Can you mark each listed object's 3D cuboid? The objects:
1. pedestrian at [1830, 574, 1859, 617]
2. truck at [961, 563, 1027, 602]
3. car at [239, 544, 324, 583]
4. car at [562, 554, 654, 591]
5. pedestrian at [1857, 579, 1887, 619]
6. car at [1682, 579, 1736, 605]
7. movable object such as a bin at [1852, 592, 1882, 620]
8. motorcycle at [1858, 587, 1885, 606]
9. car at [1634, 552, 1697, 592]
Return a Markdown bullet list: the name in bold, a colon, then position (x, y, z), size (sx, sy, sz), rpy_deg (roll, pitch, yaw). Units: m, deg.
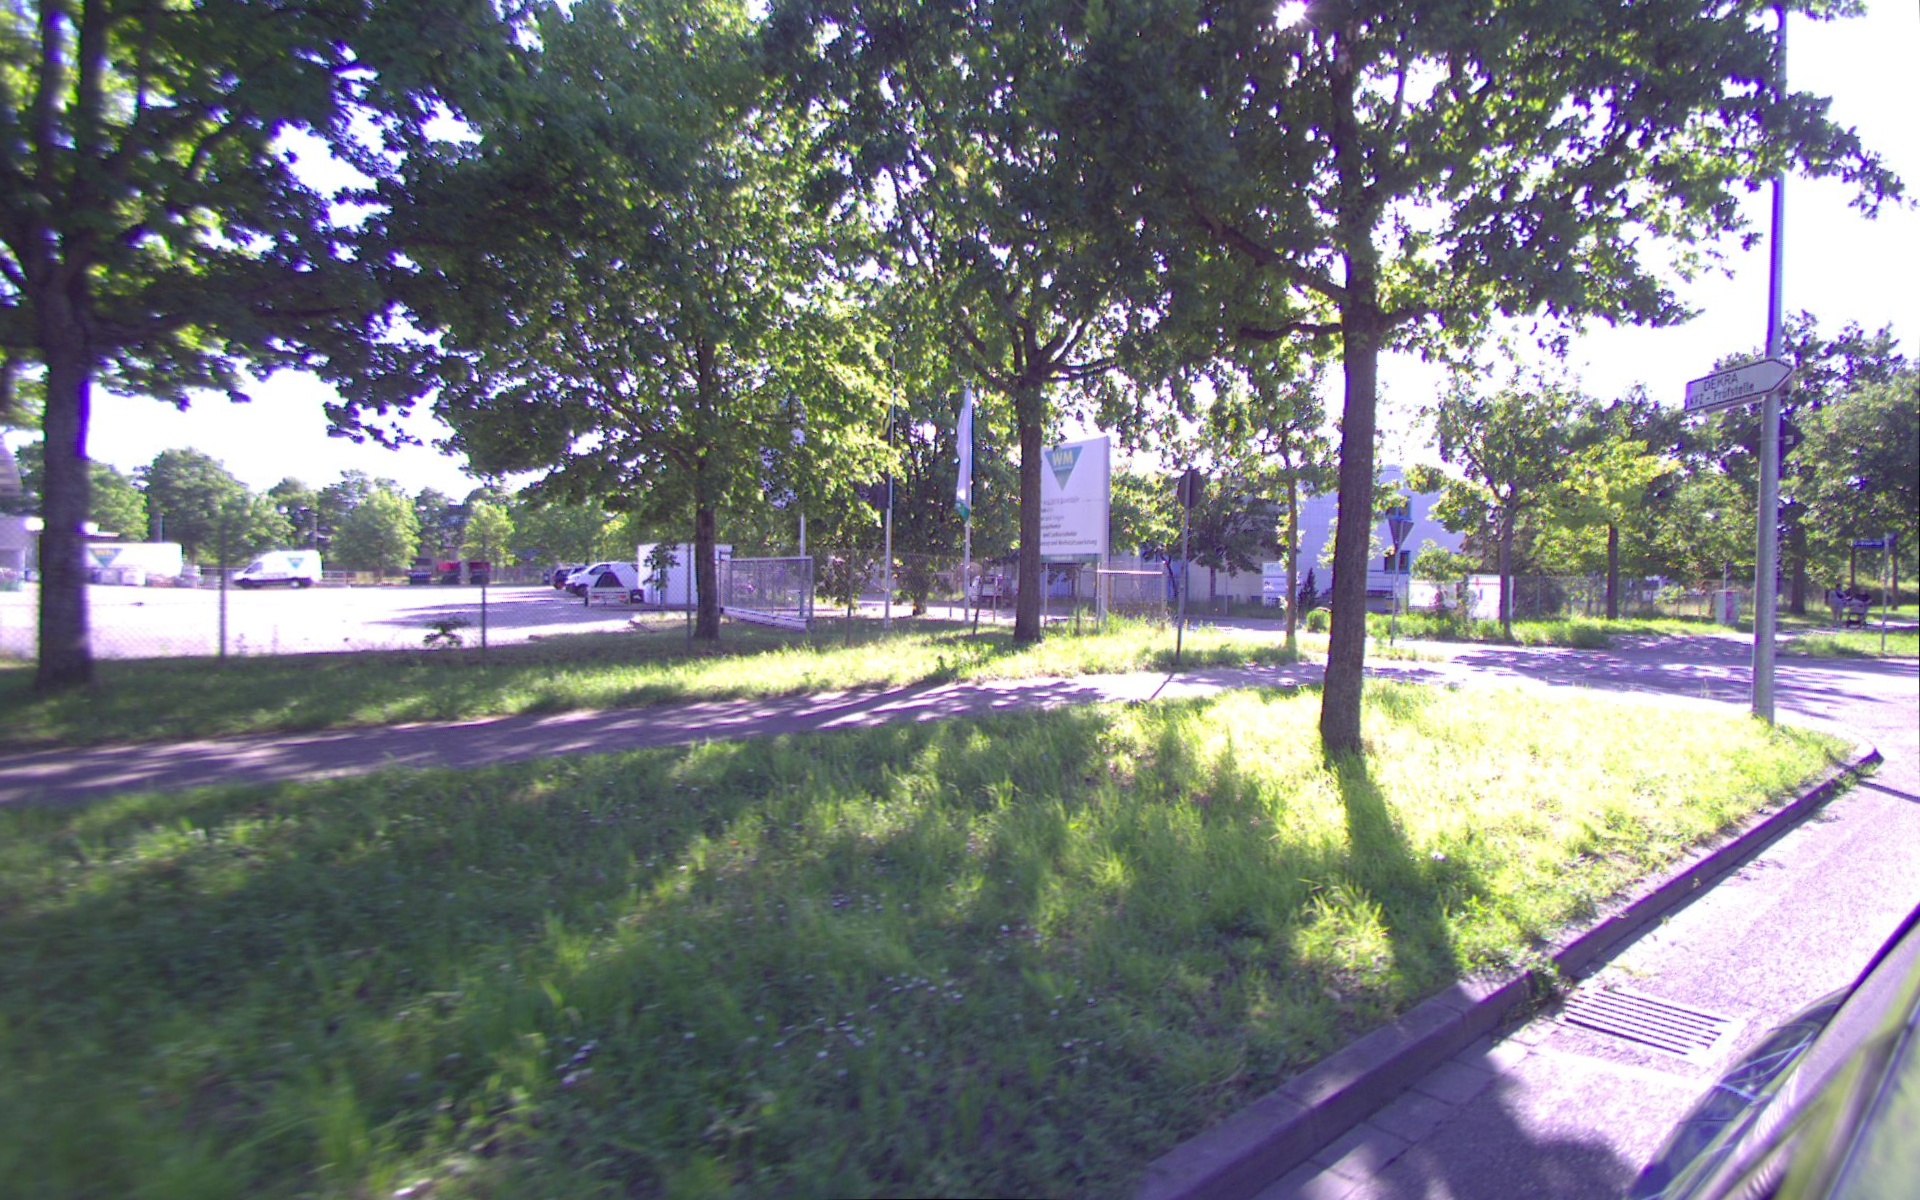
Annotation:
- **pedestrian**: position (36.787, -0.196, 42.099), size (0.852, 1.777, 0.728), rpy_deg (0, 2, -38)
- **truck**: position (1.936, -1.099, 59.387), size (1.958, 2.138, 5.166), rpy_deg (-2, 3, -21)
- **car**: position (-49.923, -2.666, 74.541), size (4.750, 2.732, 2.172), rpy_deg (1, 1, -11)
- **car**: position (-19.624, -1.529, 56.501), size (4.638, 2.011, 2.004), rpy_deg (0, 2, -27)
- **pedestrian**: position (37.745, -0.059, 41.882), size (0.852, 1.623, 0.728), rpy_deg (0, 2, -38)
- **car**: position (49.905, -0.540, 67.435), size (3.531, 1.685, 2.011), rpy_deg (0, 2, -38)
- **movable object such as a bin**: position (37.072, 0.227, 41.366), size (0.852, 1.094, 0.728), rpy_deg (0, 3, -38)
- **motorcycle**: position (69.283, -0.286, 76.924), size (2.358, 1.246, 0.666), rpy_deg (-5, 4, -26)
- **car**: position (48.643, -1.930, 69.768), size (4.762, 2.676, 2.166), rpy_deg (0, 2, -38)
